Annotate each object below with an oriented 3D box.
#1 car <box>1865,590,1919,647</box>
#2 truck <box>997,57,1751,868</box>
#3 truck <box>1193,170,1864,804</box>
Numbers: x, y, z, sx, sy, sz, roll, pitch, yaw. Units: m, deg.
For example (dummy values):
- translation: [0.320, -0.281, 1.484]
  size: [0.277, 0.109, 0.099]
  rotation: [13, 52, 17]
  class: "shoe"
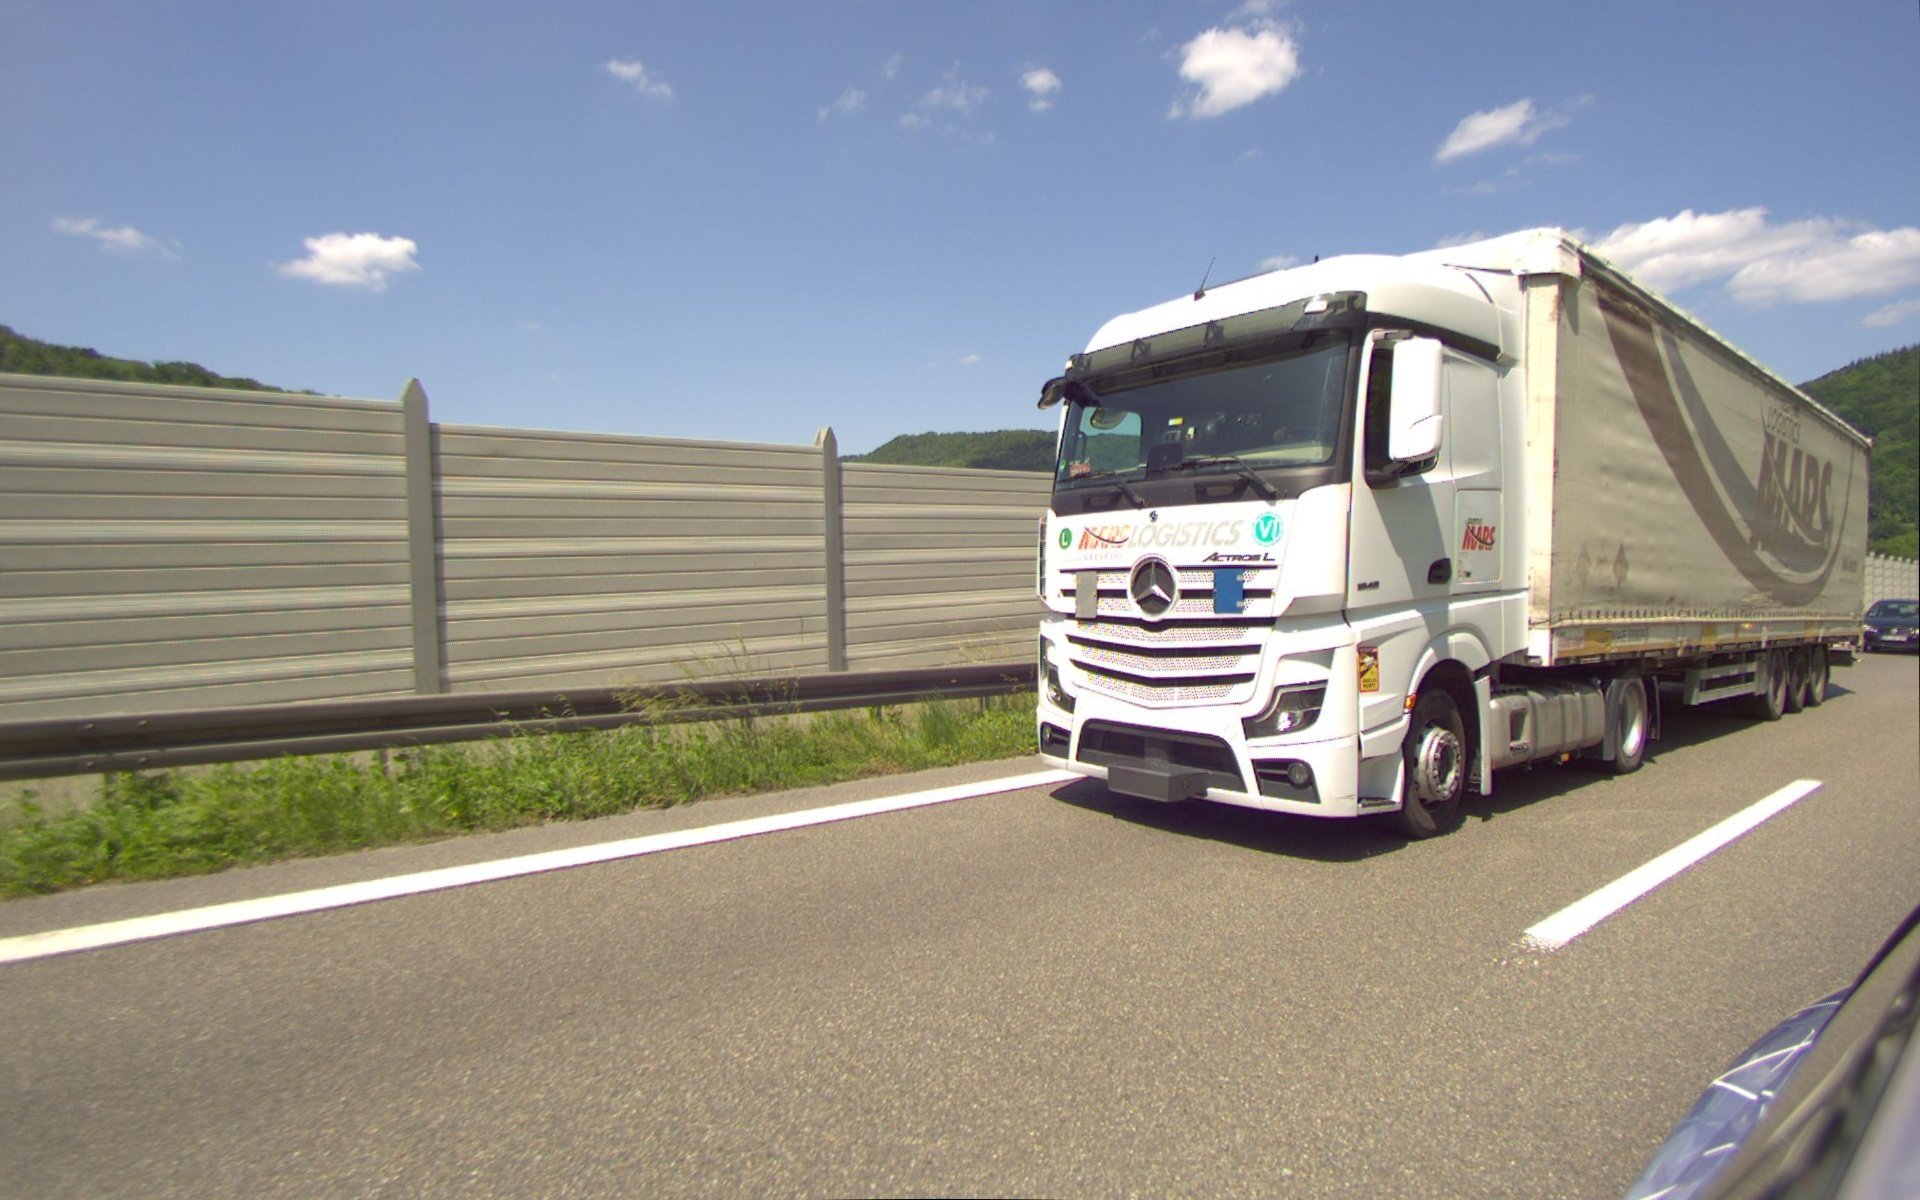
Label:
- translation: [26.022, 0.482, 27.497]
  size: [3.414, 1.430, 1.661]
  rotation: [-1, 2, -41]
  class: "car"
- translation: [3.787, -0.800, 8.360]
  size: [6.703, 4.086, 2.765]
  rotation: [-1, 5, -40]
  class: "truck"
- translation: [7.464, -0.836, 11.666]
  size: [11.836, 4.199, 2.860]
  rotation: [-1, 1, -41]
  class: "truck"
